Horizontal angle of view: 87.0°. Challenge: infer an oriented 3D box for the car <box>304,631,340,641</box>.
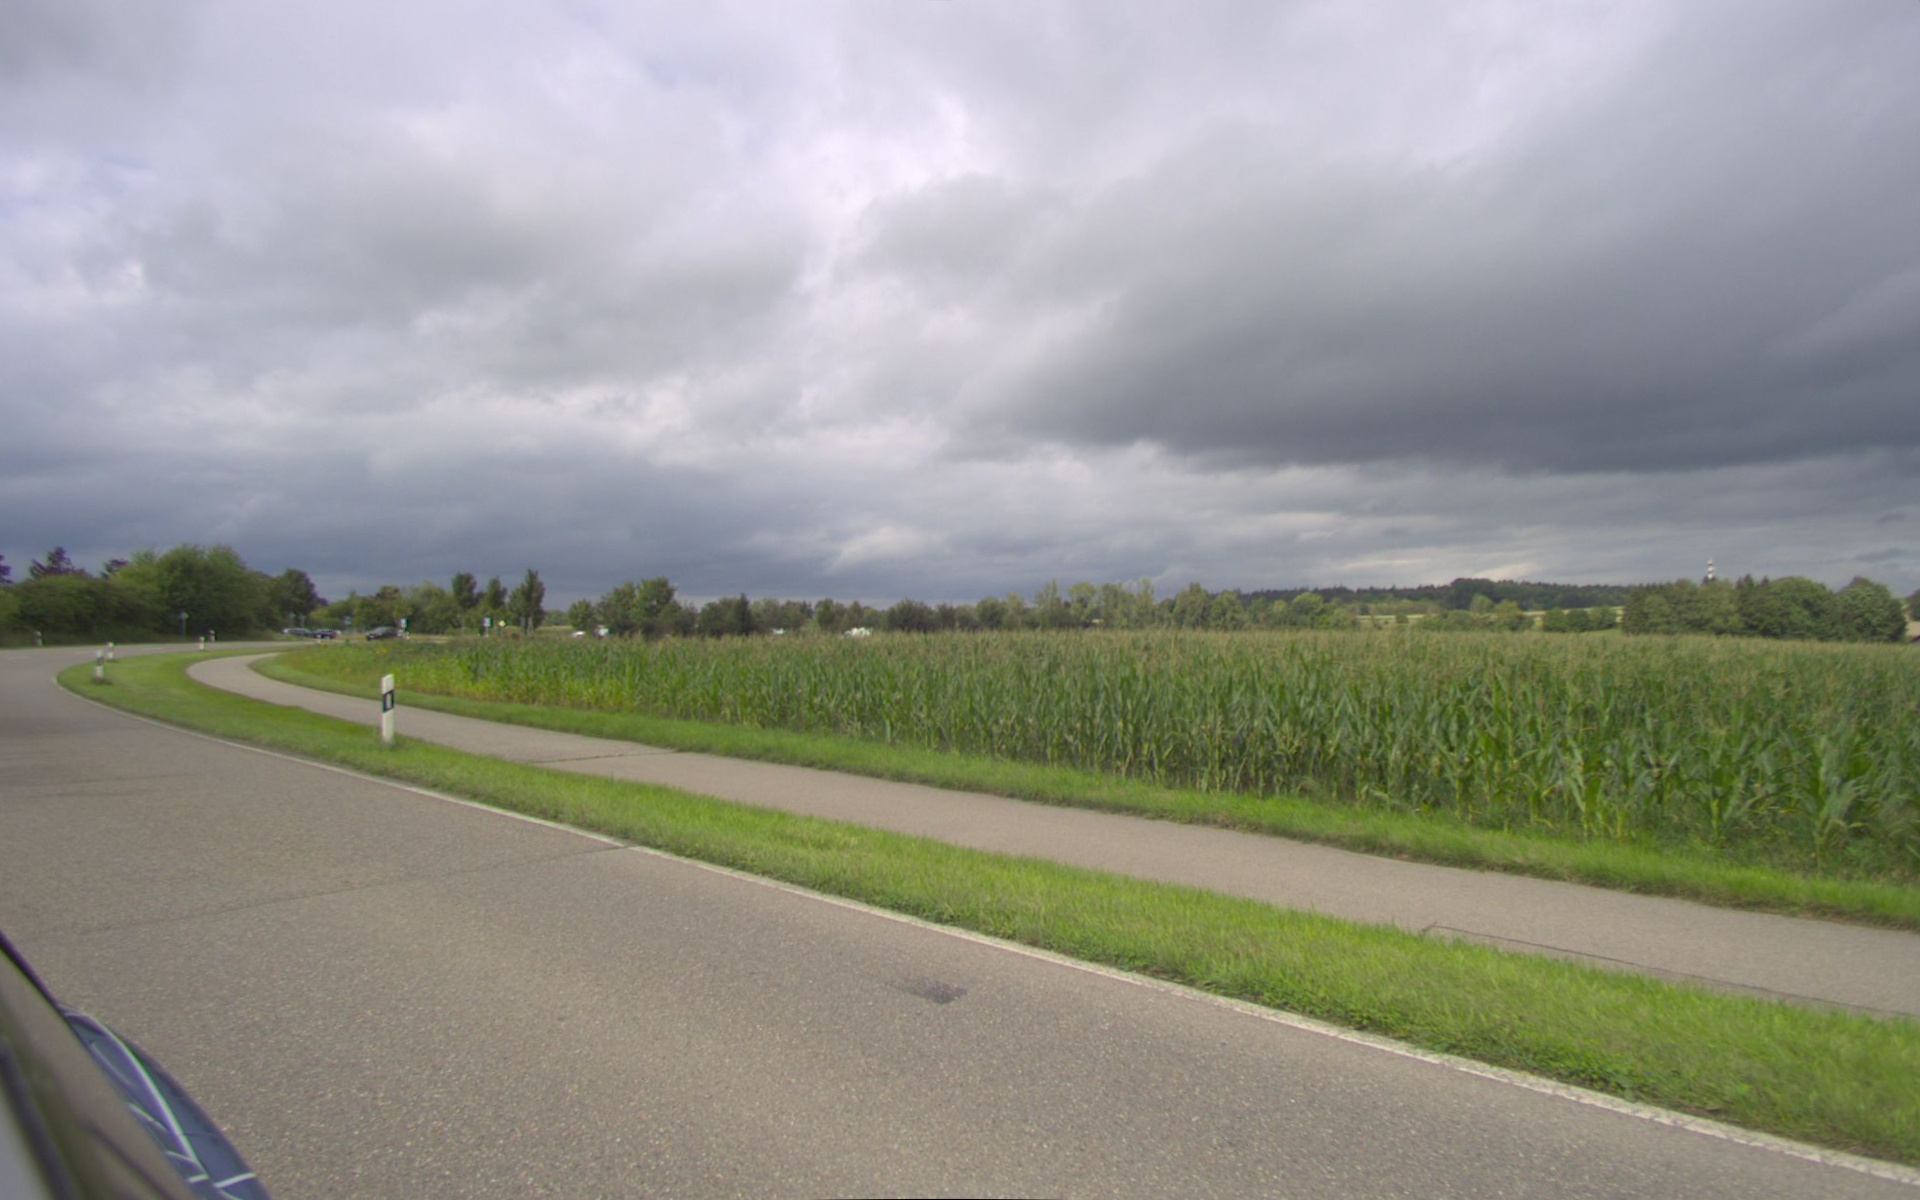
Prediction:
[{"bbox_3d":[-93.152,5.265,147.801,4.096,1.425,2.005,1,-2,-13],"label":"car"}]
